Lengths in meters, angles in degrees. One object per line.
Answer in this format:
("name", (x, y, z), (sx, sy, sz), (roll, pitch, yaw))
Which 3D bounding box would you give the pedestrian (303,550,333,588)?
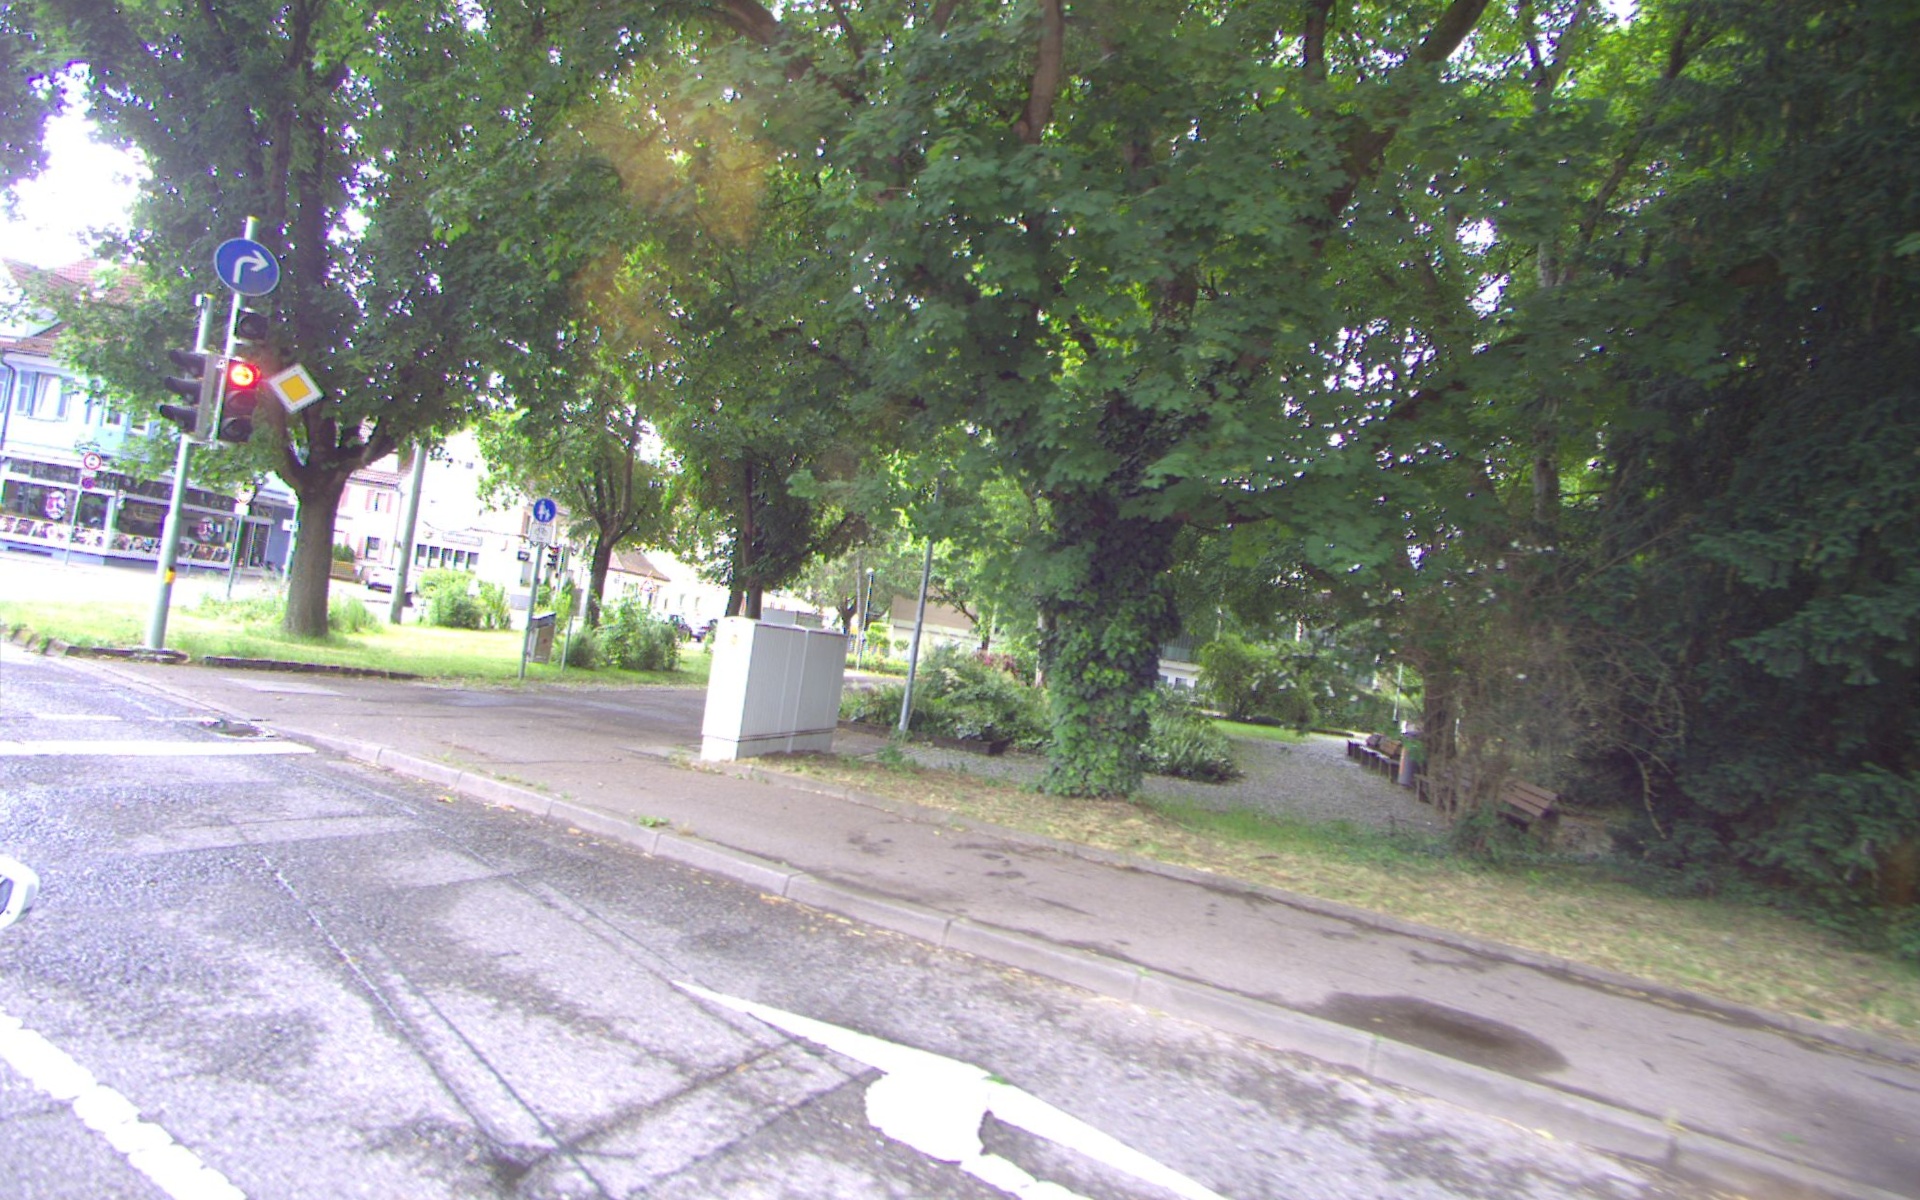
("pedestrian", (-29.253, -1.411, 45.820), (0.732, 1.578, 0.673), (7, -1, 16))

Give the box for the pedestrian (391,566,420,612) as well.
("pedestrian", (-20.469, -0.412, 37.150), (0.725, 1.578, 0.763), (8, -1, -28))

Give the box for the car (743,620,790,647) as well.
("car", (-12.783, 2.266, 66.698), (1.618, 1.474, 3.740), (7, -2, 12))

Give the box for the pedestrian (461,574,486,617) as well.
("pedestrian", (-19.076, -0.183, 39.426), (0.688, 1.578, 0.662), (8, -1, -28))

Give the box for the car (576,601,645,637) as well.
("car", (-15.444, 0.846, 44.585), (1.436, 1.282, 3.014), (7, -2, 12))

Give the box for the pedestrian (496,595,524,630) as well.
("pedestrian", (-14.971, 0.424, 33.487), (0.506, 1.093, 0.507), (7, -1, 16))

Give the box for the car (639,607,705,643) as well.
("car", (-14.501, 1.286, 50.828), (1.618, 1.474, 3.478), (7, -2, 12))

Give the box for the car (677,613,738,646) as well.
("car", (-13.888, 1.650, 55.572), (1.618, 1.474, 3.740), (7, -2, 12))

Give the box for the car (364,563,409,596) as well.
("car", (-30.460, -1.115, 53.509), (1.871, 1.406, 3.588), (9, -2, -29))

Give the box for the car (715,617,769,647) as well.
("car", (-13.107, 1.964, 60.561), (1.618, 1.474, 3.740), (7, -2, 12))

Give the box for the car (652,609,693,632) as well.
("car", (-21.678, 1.577, 76.067), (1.736, 1.463, 3.865), (7, -2, 1))
